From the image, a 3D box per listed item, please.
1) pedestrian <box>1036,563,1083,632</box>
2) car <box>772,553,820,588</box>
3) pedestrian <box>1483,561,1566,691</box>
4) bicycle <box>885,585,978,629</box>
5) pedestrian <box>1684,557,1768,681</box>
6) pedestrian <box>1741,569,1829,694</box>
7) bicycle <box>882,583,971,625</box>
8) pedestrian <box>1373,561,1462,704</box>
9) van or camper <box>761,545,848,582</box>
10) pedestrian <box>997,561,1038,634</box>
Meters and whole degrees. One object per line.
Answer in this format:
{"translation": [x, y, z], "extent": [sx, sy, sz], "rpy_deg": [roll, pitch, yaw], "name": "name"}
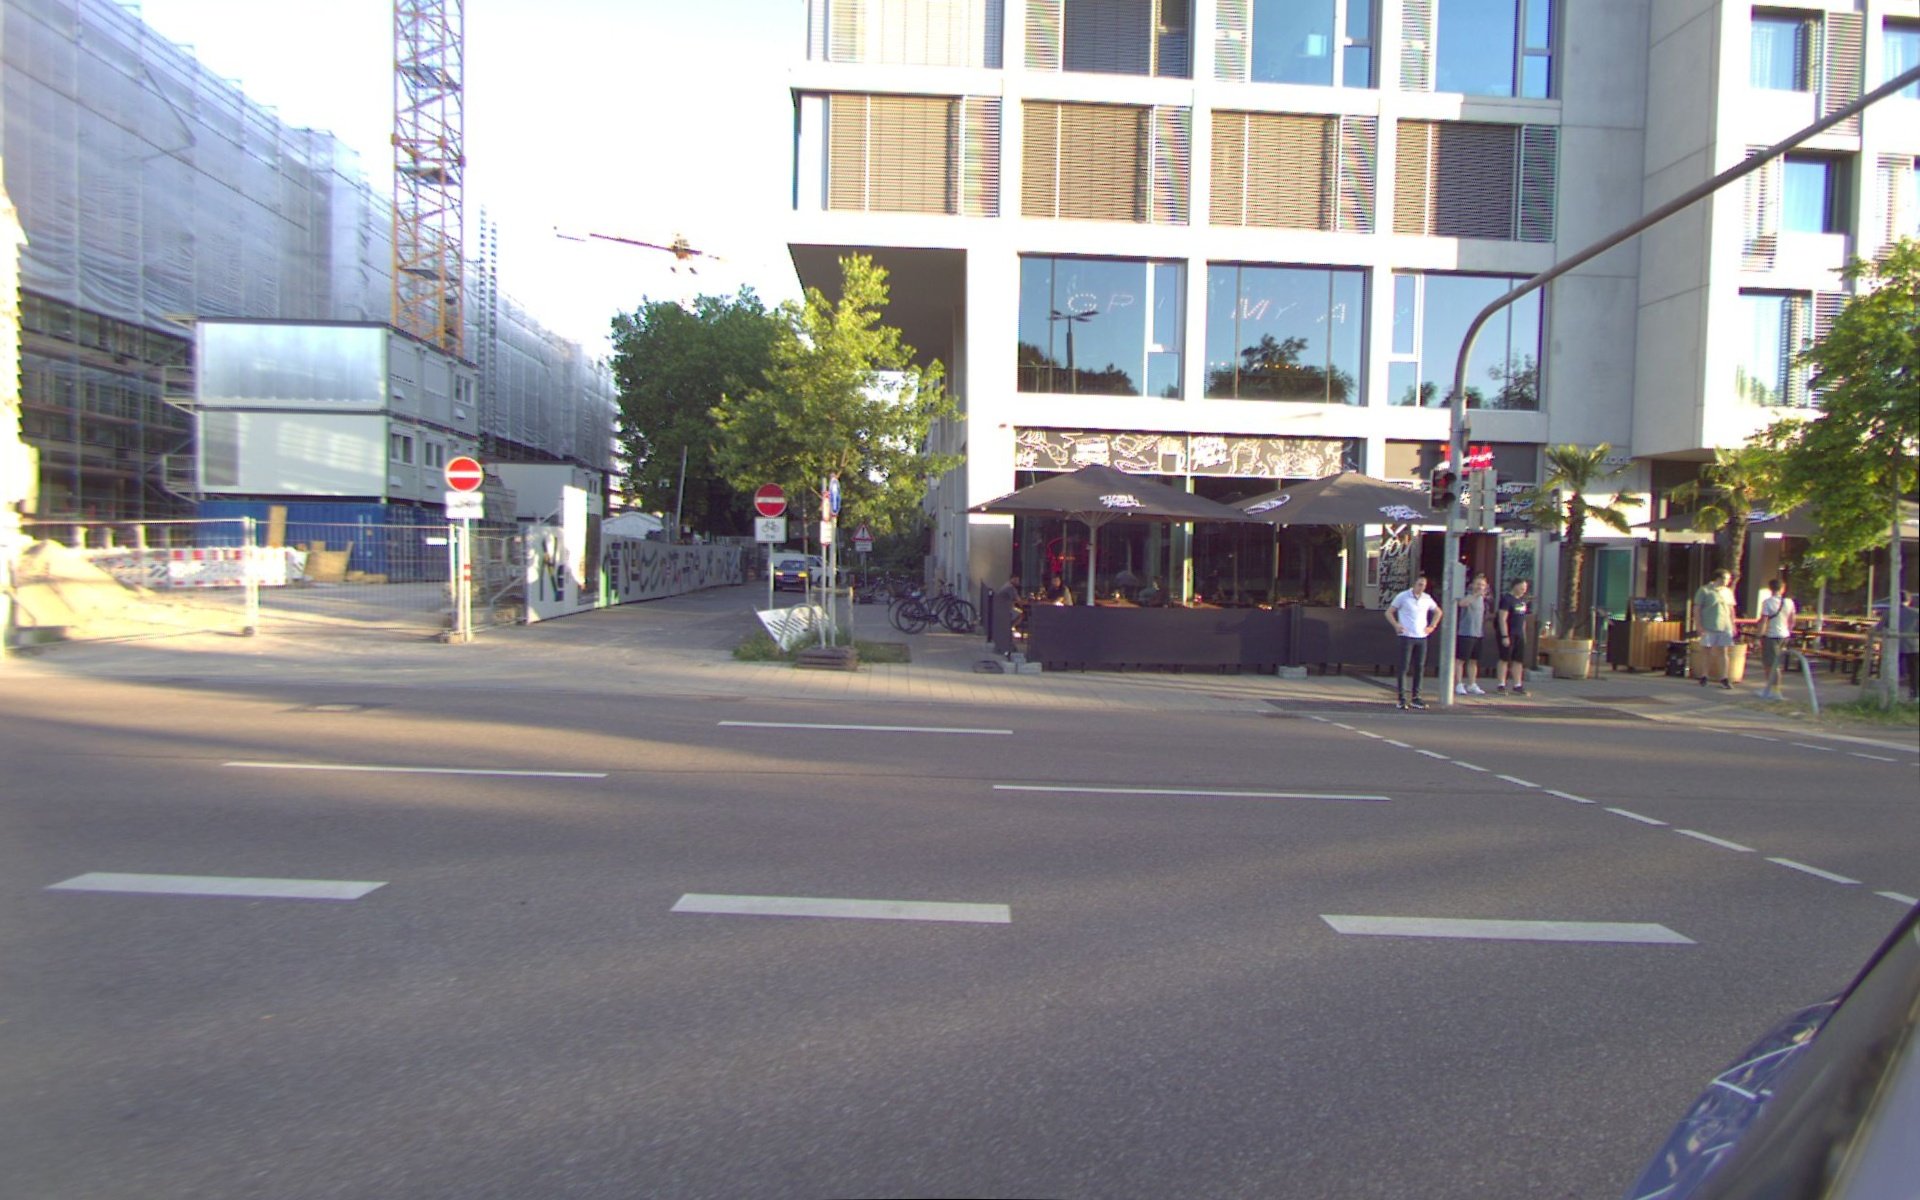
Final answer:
{"translation": [2.096, -0.058, 21.351], "extent": [0.756, 1.431, 0.607], "rpy_deg": [1, 2, -20], "name": "pedestrian"}
{"translation": [-8.145, -1.515, 50.455], "extent": [1.970, 1.617, 3.710], "rpy_deg": [1, 2, -3], "name": "car"}
{"translation": [8.440, 0.368, 15.155], "extent": [0.667, 1.857, 0.710], "rpy_deg": [2, 4, -5], "name": "pedestrian"}
{"translation": [-0.617, 0.148, 21.402], "extent": [1.939, 0.884, 0.395], "rpy_deg": [-1, 4, -5], "name": "bicycle"}
{"translation": [12.495, 0.296, 16.527], "extent": [0.695, 1.946, 0.681], "rpy_deg": [2, 4, 1], "name": "pedestrian"}
{"translation": [12.635, 0.465, 15.517], "extent": [0.695, 1.843, 0.618], "rpy_deg": [1, 4, -1], "name": "pedestrian"}
{"translation": [-0.744, 0.081, 22.295], "extent": [1.939, 0.884, 0.395], "rpy_deg": [-1, 4, -5], "name": "bicycle"}
{"translation": [6.232, 0.429, 13.820], "extent": [0.747, 1.857, 0.710], "rpy_deg": [1, 4, -5], "name": "pedestrian"}
{"translation": [-9.684, -2.281, 63.281], "extent": [4.875, 2.148, 2.485], "rpy_deg": [0, 2, 11], "name": "van or camper"}
{"translation": [1.190, -0.060, 21.006], "extent": [0.757, 1.480, 0.606], "rpy_deg": [1, 2, -4], "name": "pedestrian"}
